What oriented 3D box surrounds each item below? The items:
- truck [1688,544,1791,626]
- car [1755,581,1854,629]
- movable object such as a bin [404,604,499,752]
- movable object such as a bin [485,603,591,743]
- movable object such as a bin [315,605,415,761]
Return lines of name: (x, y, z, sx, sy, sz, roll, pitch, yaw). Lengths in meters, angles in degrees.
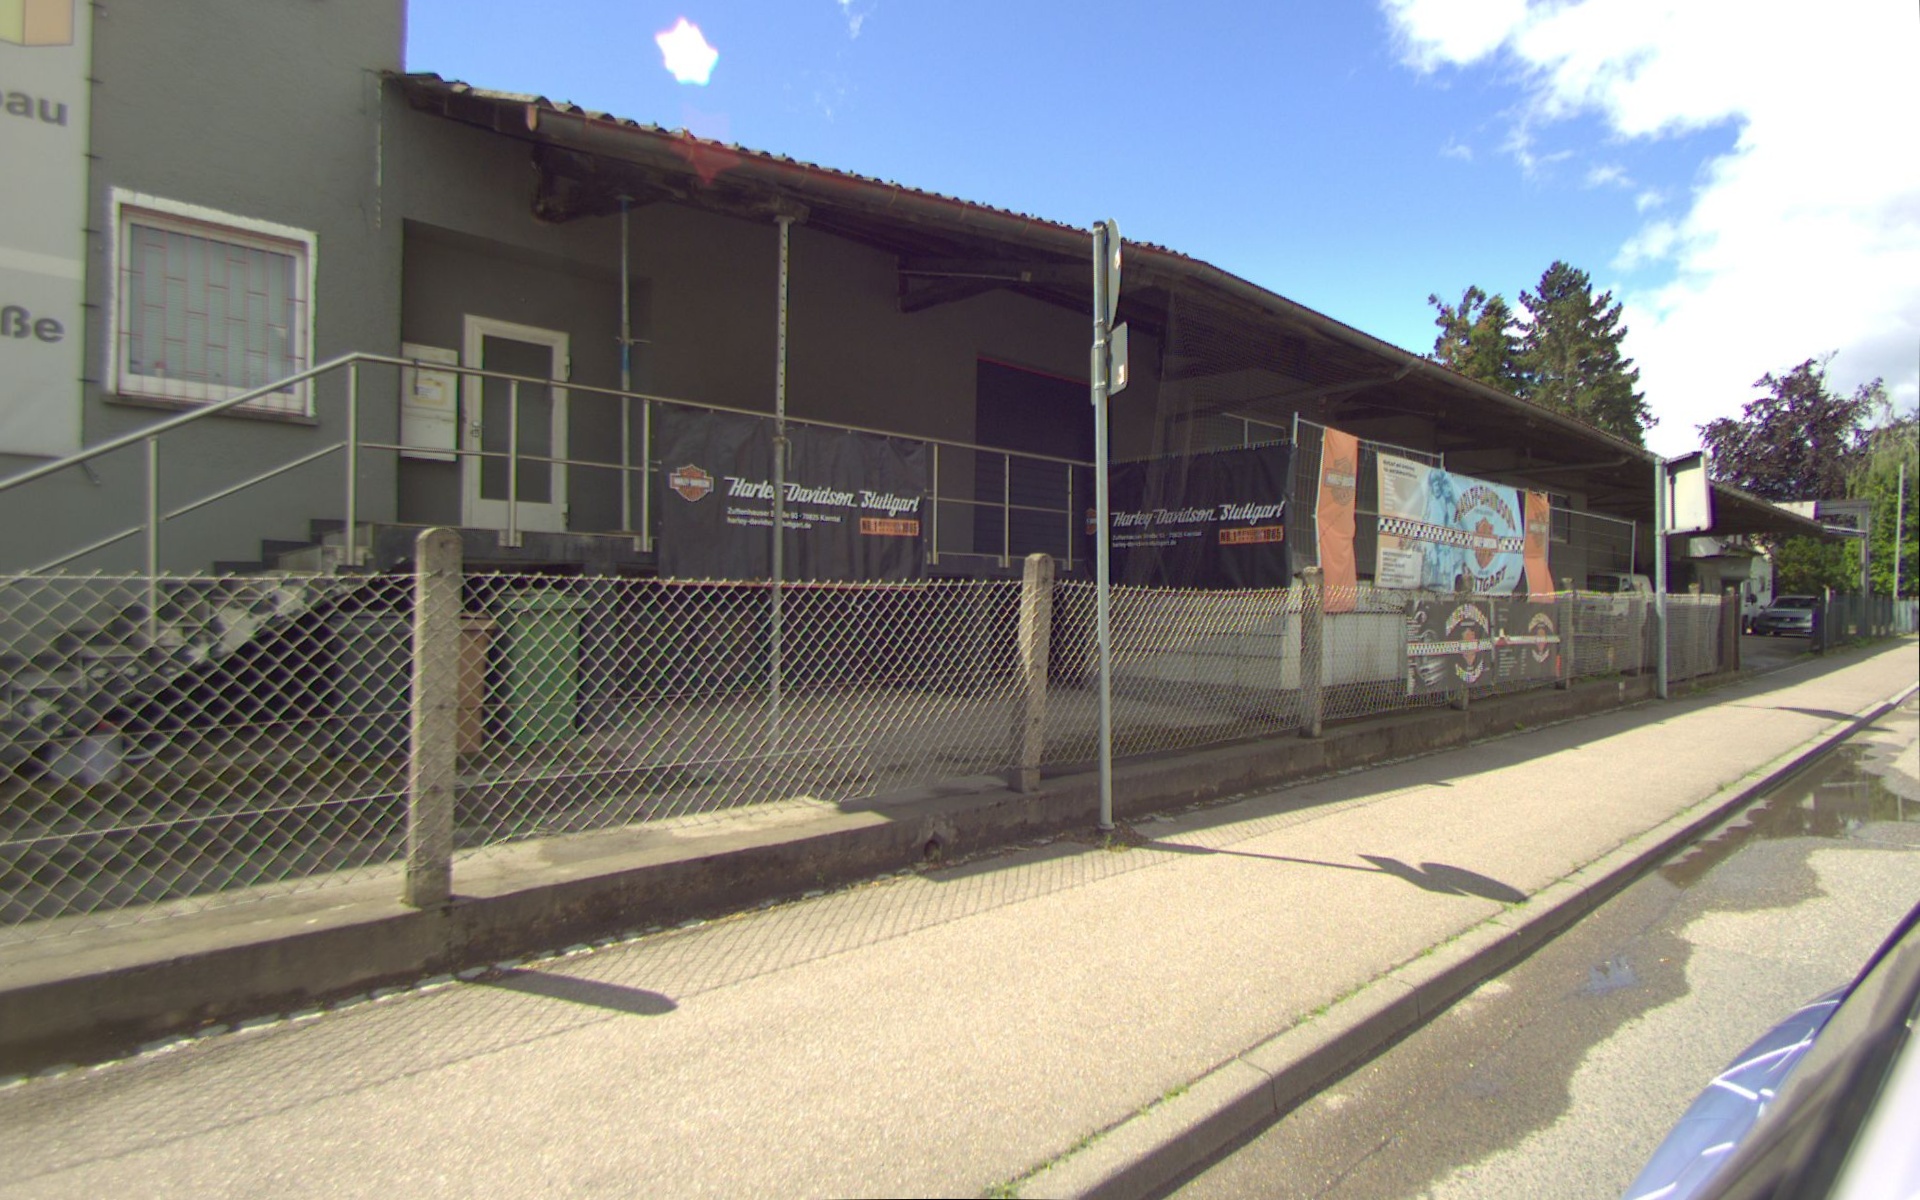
truck: (29.401, -0.554, 38.108, 5.112, 2.864, 2.089, -1, 0, -41)
car: (29.582, 0.139, 35.399, 5.112, 1.549, 1.861, -1, 0, -41)
movable object such as a bin: (-3.445, 0.503, 6.858, 0.466, 0.942, 0.482, 0, 0, -42)
movable object such as a bin: (-3.021, 0.497, 7.250, 0.574, 0.942, 0.482, 0, 0, -42)
movable object such as a bin: (-3.828, 0.508, 6.508, 0.466, 0.942, 0.482, 0, 0, -42)
